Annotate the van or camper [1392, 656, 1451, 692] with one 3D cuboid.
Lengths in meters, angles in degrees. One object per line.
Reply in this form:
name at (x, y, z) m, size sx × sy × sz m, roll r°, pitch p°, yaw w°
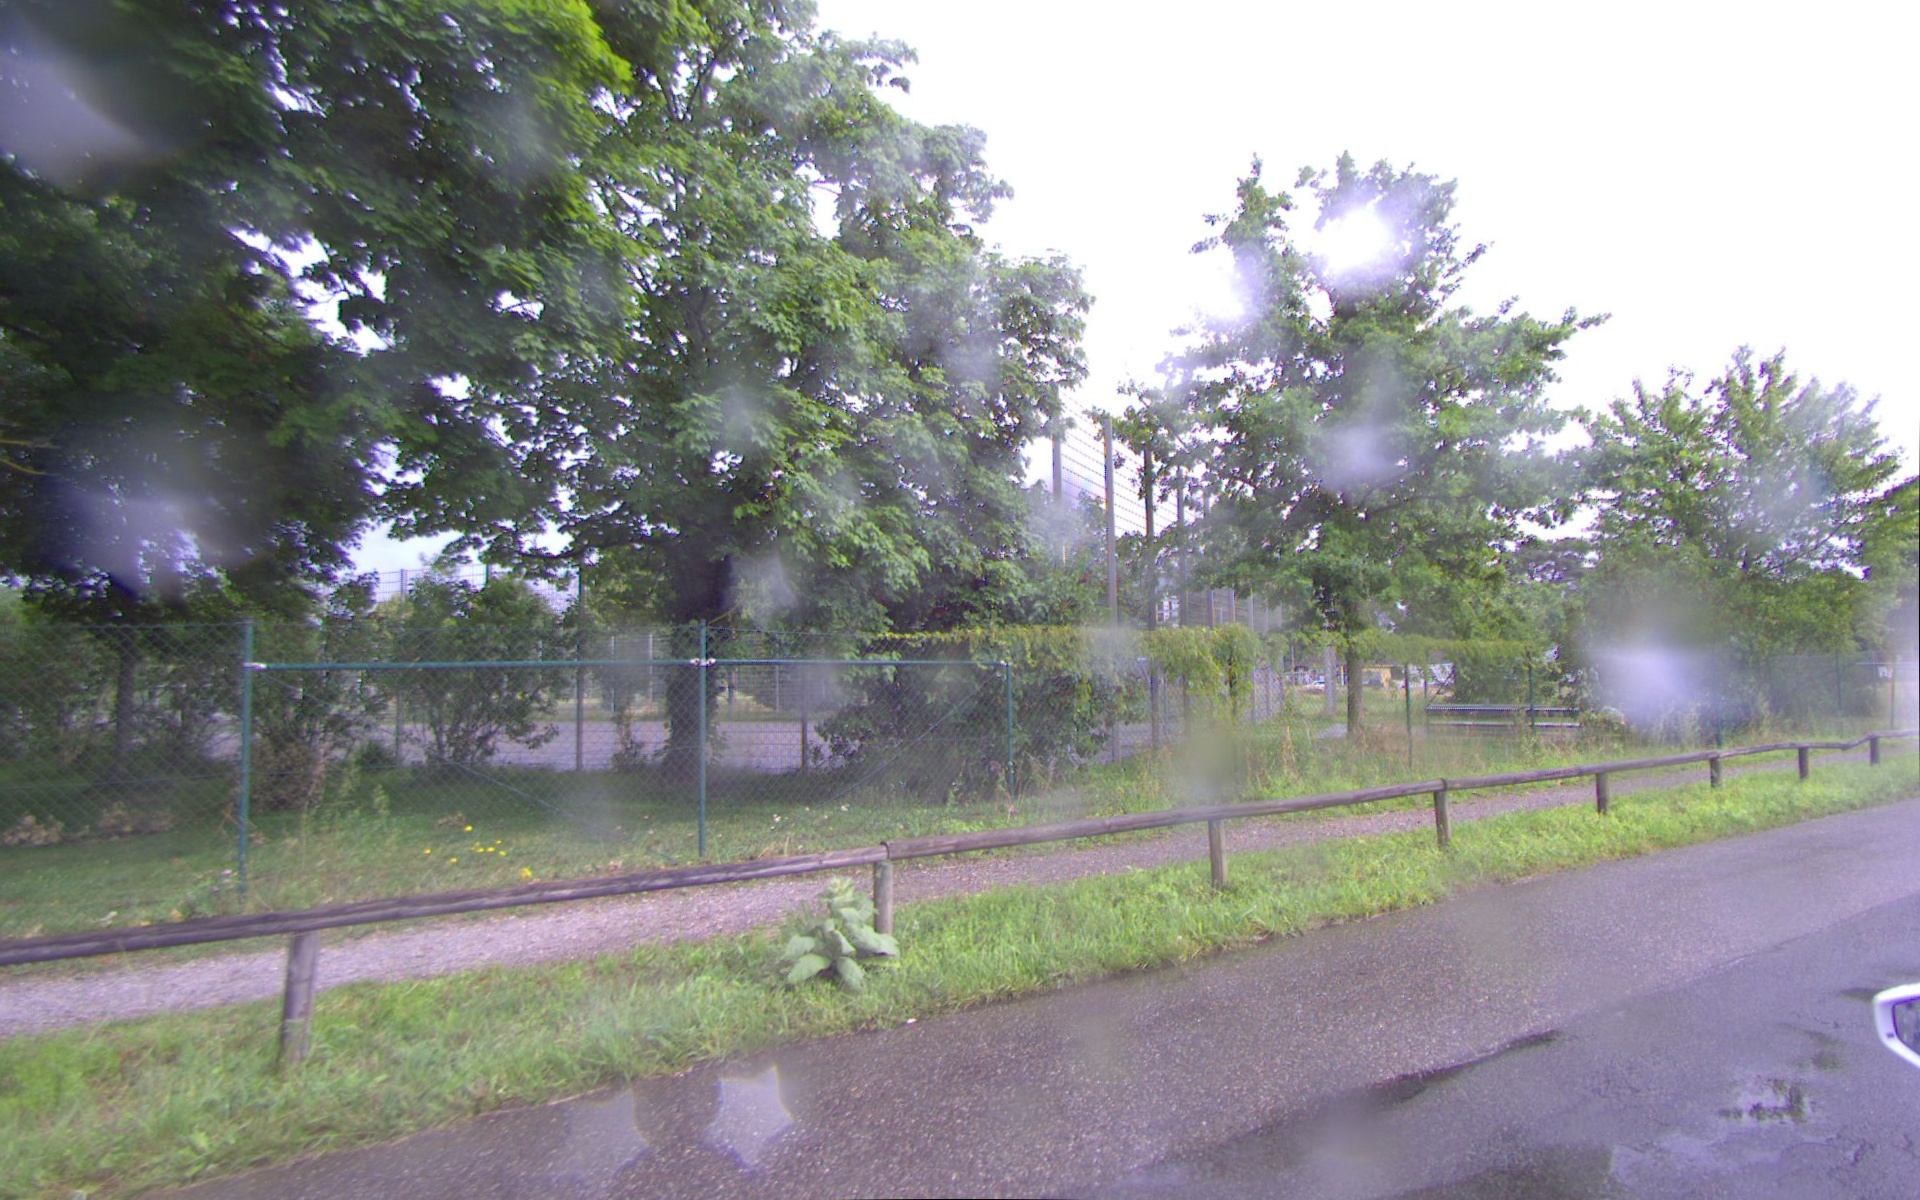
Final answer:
van or camper at (52.009, 8.385, 113.306) m, size 5.745 × 3.792 × 2.651 m, roll -4°, pitch -5°, yaw 28°
